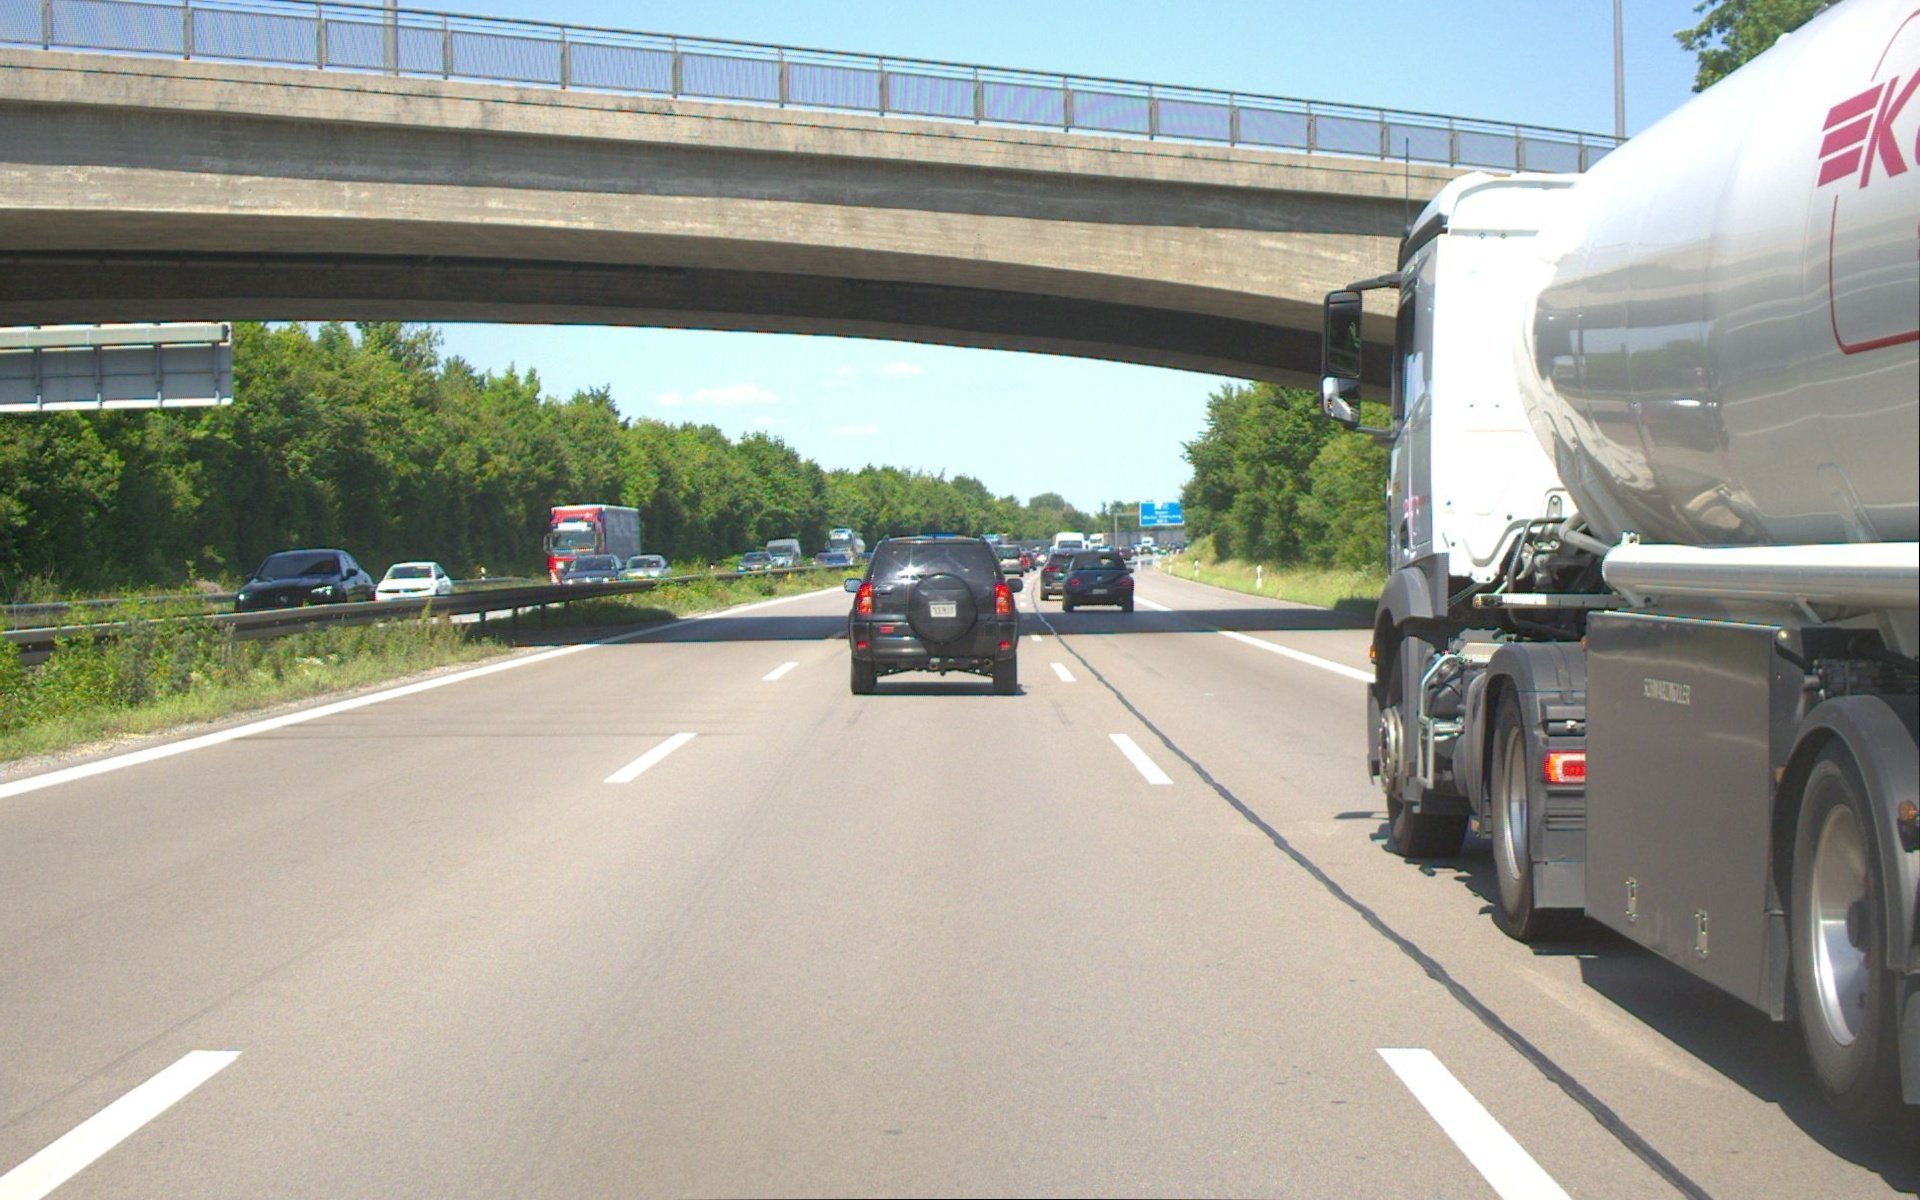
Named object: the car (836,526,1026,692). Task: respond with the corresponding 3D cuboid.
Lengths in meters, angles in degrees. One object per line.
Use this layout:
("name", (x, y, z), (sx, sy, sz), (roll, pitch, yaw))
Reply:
("car", (-0.361, 0.065, 36.820), (1.906, 1.659, 4.000), (-1, 1, -2))

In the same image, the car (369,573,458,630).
("car", (-15.570, 0.016, 98.073), (1.860, 1.522, 4.214), (-1, 1, 0))

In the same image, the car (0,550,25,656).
("car", (-15.728, 0.062, 52.392), (1.899, 1.635, 4.000), (-1, 0, -1))

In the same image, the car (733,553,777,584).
("car", (-10.355, -1.594, 173.557), (1.882, 1.478, 4.434), (-1, 1, 1))

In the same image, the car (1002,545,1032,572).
("car", (3.784, -2.744, 228.420), (1.812, 1.740, 4.000), (-1, 1, -1))

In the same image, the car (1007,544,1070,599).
("car", (2.391, -0.857, 105.291), (1.842, 1.606, 4.000), (-1, 0, 0))

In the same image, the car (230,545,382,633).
("car", (-11.919, -0.232, 62.887), (1.860, 1.522, 4.751), (-1, 1, 0))

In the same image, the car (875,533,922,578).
("car", (-2.861, -2.092, 161.054), (1.993, 2.007, 4.950), (-1, 1, 1))

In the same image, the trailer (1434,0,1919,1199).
("trailer", (3.369, -0.276, 8.868), (2.648, 3.378, 11.152), (0, 1, 0))

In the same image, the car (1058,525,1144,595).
("car", (3.485, -0.970, 85.677), (1.993, 1.678, 4.000), (-1, 0, 1))

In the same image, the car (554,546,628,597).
("car", (-11.318, -0.894, 105.700), (1.774, 1.469, 4.420), (-3, 1, -1))

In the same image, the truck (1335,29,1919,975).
("truck", (3.348, -0.391, 15.492), (2.638, 3.363, 6.487), (0, 1, 0))

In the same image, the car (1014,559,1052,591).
("car", (4.137, -1.444, 195.241), (1.993, 1.744, 4.205), (-1, 1, -1))

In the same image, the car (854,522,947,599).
("car", (-1.356, -0.917, 80.167), (1.993, 1.700, 4.336), (-1, 1, 1))

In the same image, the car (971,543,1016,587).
("car", (1.561, -1.645, 160.839), (1.993, 2.007, 4.768), (-1, 1, 0))

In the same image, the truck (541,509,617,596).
("truck", (-18.650, -2.345, 168.626), (2.785, 4.047, 6.209), (-3, 1, 1))
